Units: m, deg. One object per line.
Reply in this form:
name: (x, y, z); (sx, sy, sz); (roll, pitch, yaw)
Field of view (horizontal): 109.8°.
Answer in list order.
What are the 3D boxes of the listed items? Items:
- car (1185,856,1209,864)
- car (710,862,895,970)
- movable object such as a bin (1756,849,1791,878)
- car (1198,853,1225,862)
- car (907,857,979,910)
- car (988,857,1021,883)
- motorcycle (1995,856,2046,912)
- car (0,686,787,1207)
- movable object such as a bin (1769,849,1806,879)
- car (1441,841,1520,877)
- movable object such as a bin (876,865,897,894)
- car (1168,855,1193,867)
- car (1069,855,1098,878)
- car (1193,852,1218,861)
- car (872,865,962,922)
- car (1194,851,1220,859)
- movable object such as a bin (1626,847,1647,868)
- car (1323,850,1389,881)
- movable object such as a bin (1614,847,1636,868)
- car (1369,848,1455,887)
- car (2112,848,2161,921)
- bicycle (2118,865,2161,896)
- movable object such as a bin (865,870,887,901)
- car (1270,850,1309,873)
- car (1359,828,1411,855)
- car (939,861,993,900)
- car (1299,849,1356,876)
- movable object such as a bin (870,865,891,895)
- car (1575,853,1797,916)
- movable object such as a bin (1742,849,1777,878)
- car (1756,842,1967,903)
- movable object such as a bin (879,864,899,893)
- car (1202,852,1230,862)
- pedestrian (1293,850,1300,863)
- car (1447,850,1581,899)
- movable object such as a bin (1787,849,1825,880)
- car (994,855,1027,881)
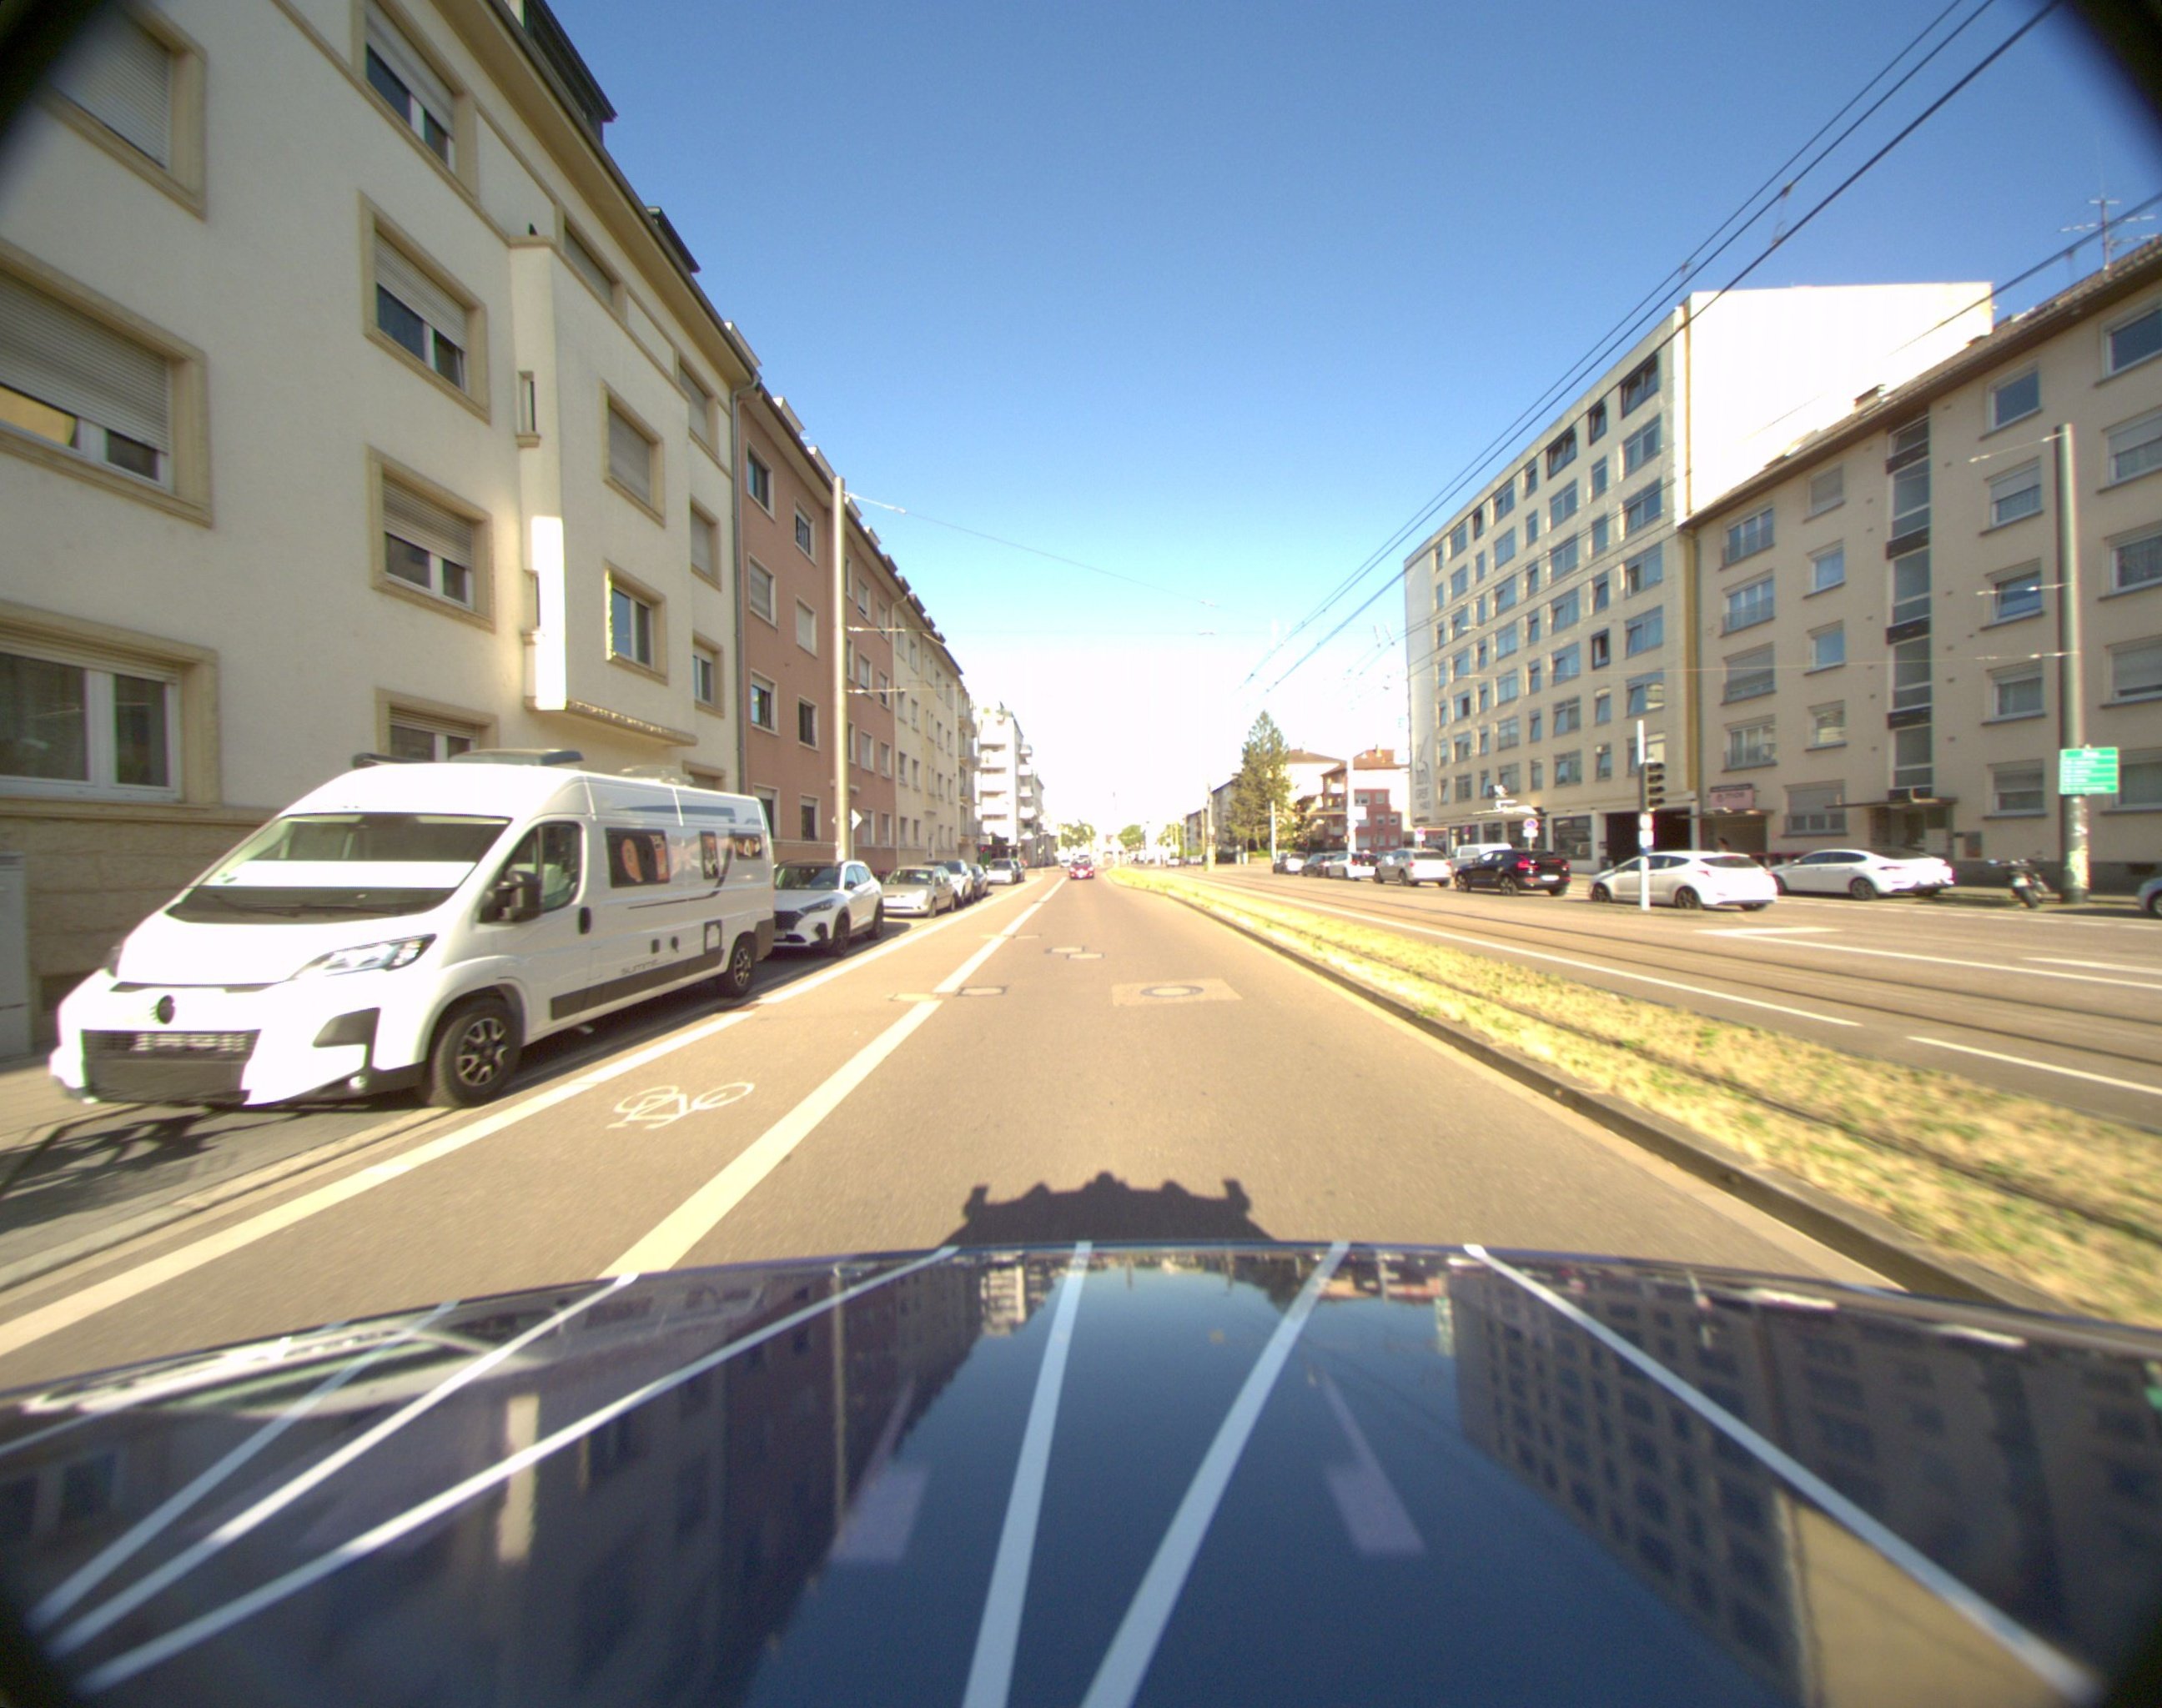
car: (20.740, 1.065, 135.394); (3.997, 1.324, 1.738); (-1, 0, 0)
car: (-4.926, 0.996, 14.210); (1.852, 1.628, 4.574); (0, 0, -1)
movable object such as a bin: (25.877, 0.351, 28.390); (0.774, 1.045, 0.546); (-4, 1, 1)
car: (20.887, 0.526, 121.410); (3.997, 1.324, 1.738); (-1, 0, 0)
car: (-4.854, 0.975, 27.338); (1.806, 1.687, 4.490); (2, 0, -1)
car: (-4.566, 0.934, 45.453); (1.762, 1.543, 2.649); (0, 0, -1)
motorcycle: (22.270, 0.685, 17.997); (2.115, 1.132, 0.486); (-4, 1, -32)
car: (-5.075, 0.461, 7.069); (2.156, 2.680, 6.291); (1, 0, 1)
movable object such as a bin: (25.867, 0.367, 27.827); (0.774, 1.045, 0.546); (-4, 1, 1)
car: (23.196, 0.269, 44.315); (1.999, 1.887, 4.669); (-4, 0, -1)
movable object such as a bin: (-7.966, 1.033, 31.139); (0.605, 1.128, 0.563); (-4, 1, 1)
car: (12.737, 0.879, 97.125); (1.718, 1.379, 3.719); (-4, 0, 32)
car: (0.199, 0.789, 50.818); (1.862, 1.461, 3.809); (-1, 0, 1)
car: (21.393, 0.422, 131.011); (3.997, 1.324, 1.738); (-1, 0, 0)
car: (-4.738, 1.083, 22.534); (1.625, 1.452, 4.055); (1, 0, 2)
car: (20.981, 0.193, 126.422); (3.997, 1.324, 1.738); (-1, 0, 0)
movable object such as a bin: (28.028, 0.158, 38.341); (0.545, 1.045, 0.775); (-1, 0, 3)
car: (14.455, 0.578, 40.143); (1.861, 1.541, 4.240); (1, 0, -1)
movable object such as a bin: (27.462, 0.163, 38.366); (0.545, 1.045, 0.775); (-1, 0, 3)
car: (14.278, 0.547, 33.061); (1.787, 1.572, 4.608); (0, 0, 0)
car: (22.162, 0.576, 13.435); (1.787, 1.377, 4.414); (-4, 0, -1)
bicycle: (25.875, 0.639, 17.742); (0.603, 0.689, 1.995); (-4, 0, 1)
movable object such as a bin: (-7.939, 1.212, 29.457); (0.605, 1.128, 0.563); (-4, 1, 1)
car: (14.582, 0.520, 53.284); (1.617, 1.550, 4.000); (0, 0, 0)
car: (17.880, -0.720, 44.829); (1.571, 1.492, 3.571); (0, 0, -1)
car: (-4.867, 1.092, 32.654); (1.750, 1.470, 4.153); (2, 0, -1)
car: (14.871, 0.509, 46.090); (1.999, 1.541, 4.366); (1, 0, -1)
movable object such as a bin: (-8.001, 1.040, 30.322); (0.605, 1.128, 0.563); (-4, 1, 1)
car: (14.940, 0.685, 19.150); (1.839, 1.377, 4.413); (0, 0, -5)
movable object such as a bin: (25.901, 0.352, 29.011); (0.774, 1.045, 0.546); (-4, 1, 1)
car: (22.376, 0.480, 22.064); (1.763, 1.477, 4.199); (-4, 0, 1)
movable object such as a bin: (-8.030, 1.013, 31.796); (0.605, 1.128, 0.563); (-4, 1, 1)
car: (20.475, 0.453, 115.495); (3.997, 1.324, 1.738); (-1, 0, 0)
pedestrian: (26.337, 0.328, 92.867); (0.615, 1.597, 0.510); (-4, 1, -1)
car: (14.512, 0.629, 25.803); (1.788, 1.519, 4.413); (0, 0, -4)
movable object such as a bin: (25.851, 0.368, 27.096); (0.774, 1.045, 0.546); (-4, 1, 1)
car: (-4.548, 0.877, 49.609); (1.822, 1.543, 4.174); (0, 0, -1)
